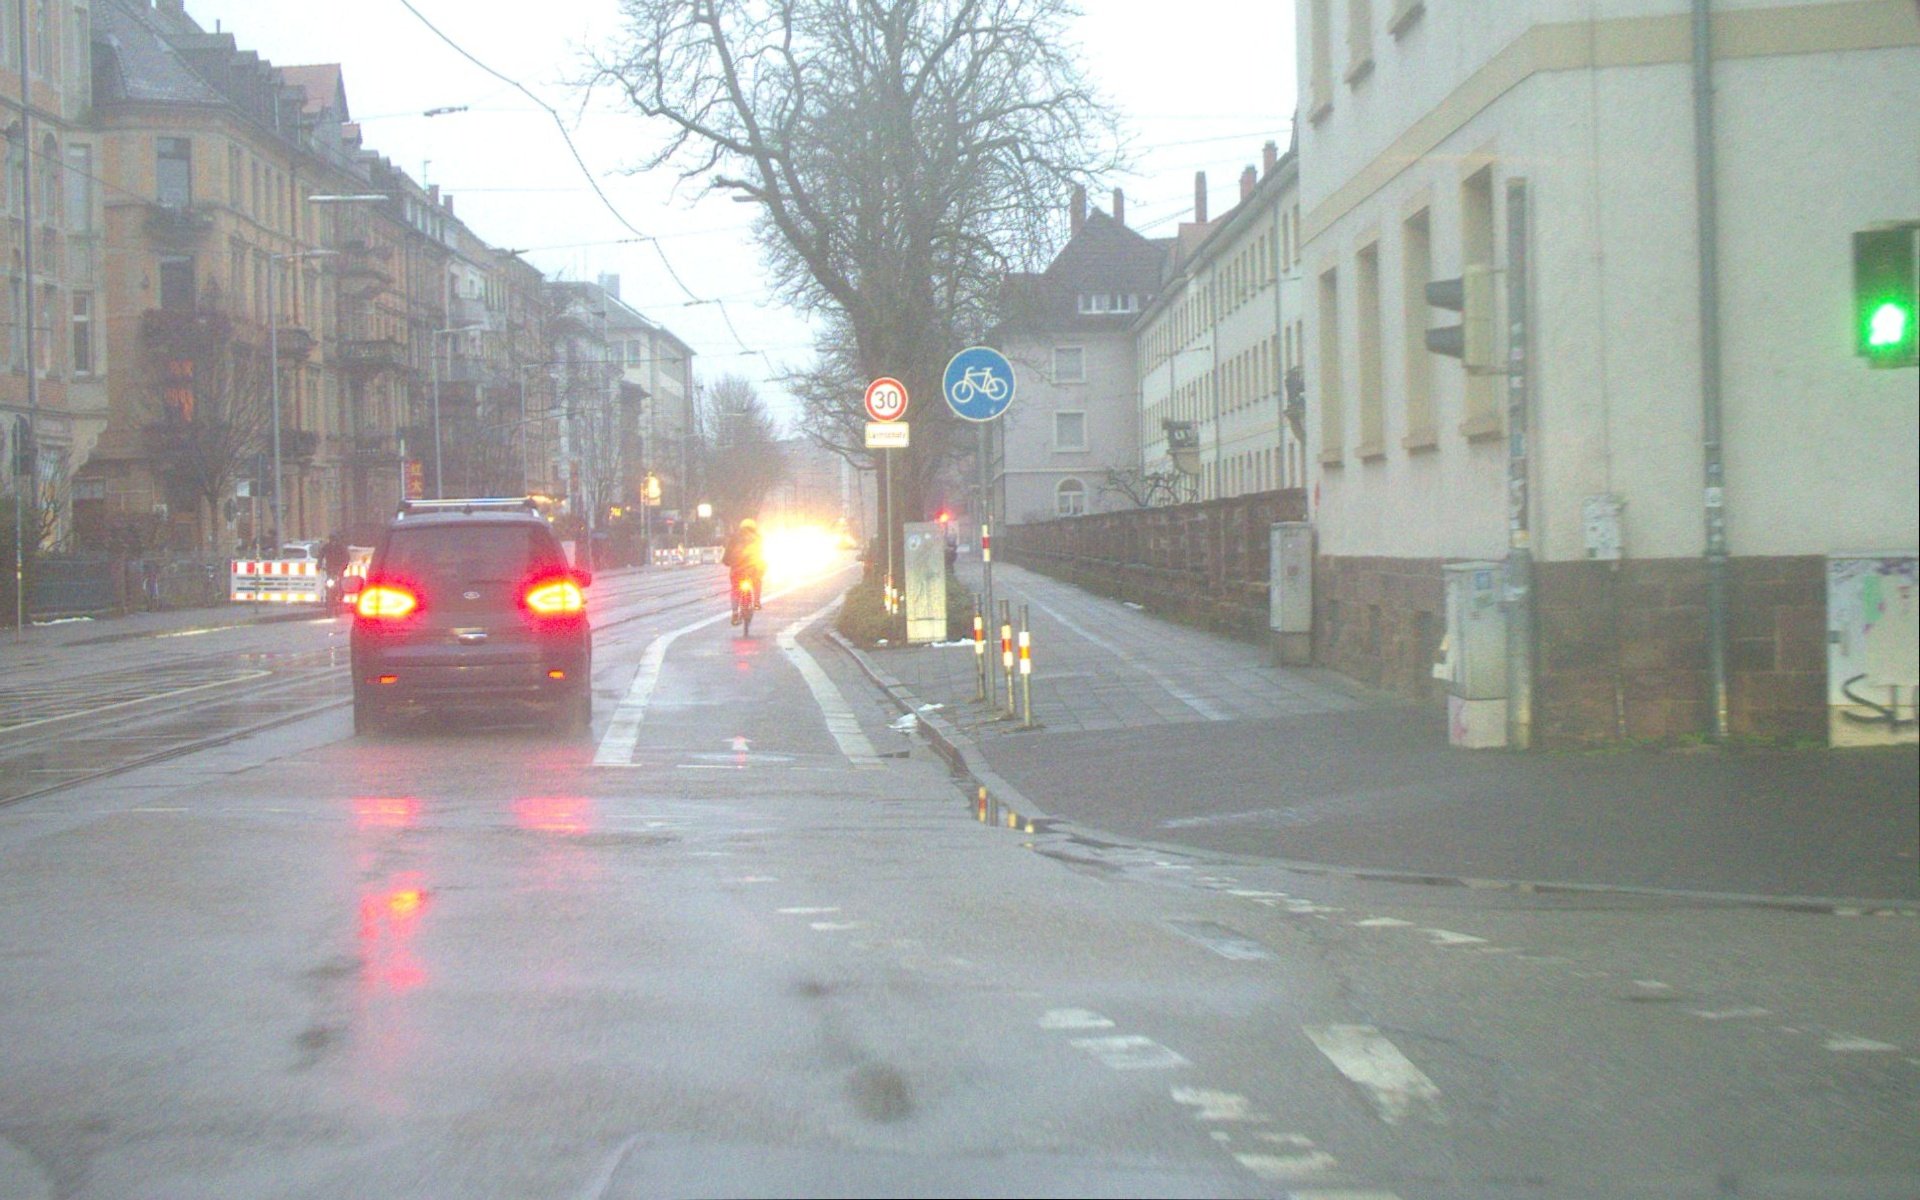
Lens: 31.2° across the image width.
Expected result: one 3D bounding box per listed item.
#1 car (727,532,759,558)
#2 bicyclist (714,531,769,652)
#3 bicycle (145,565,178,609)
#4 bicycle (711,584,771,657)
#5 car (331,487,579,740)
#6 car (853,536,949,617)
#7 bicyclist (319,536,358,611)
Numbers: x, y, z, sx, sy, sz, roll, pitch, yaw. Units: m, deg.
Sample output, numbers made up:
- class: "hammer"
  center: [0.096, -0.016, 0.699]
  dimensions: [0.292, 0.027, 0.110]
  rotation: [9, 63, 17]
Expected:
- class: "car"
  center: [-14.737, -3.770, 233.952]
  dimensions: [1.923, 1.714, 4.000]
  rotation: [-1, 1, -1]
- class: "bicyclist"
  center: [-3.160, -0.133, 49.761]
  dimensions: [0.730, 1.730, 0.765]
  rotation: [-1, 1, 1]
- class: "bicycle"
  center: [-17.203, -0.285, 74.105]
  dimensions: [0.263, 0.912, 1.685]
  rotation: [5, 1, -1]
- class: "bicycle"
  center: [-3.157, 0.284, 49.652]
  dimensions: [0.731, 1.003, 1.764]
  rotation: [-1, 1, 1]
- class: "car"
  center: [-4.049, 0.062, 27.962]
  dimensions: [1.801, 1.864, 4.019]
  rotation: [2, 1, -7]
- class: "car"
  center: [-1.148, -0.484, 67.032]
  dimensions: [1.785, 1.504, 3.988]
  rotation: [-1, 1, -1]
- class: "bicyclist"
  center: [-13.565, -0.580, 75.093]
  dimensions: [0.683, 1.610, 0.765]
  rotation: [-1, 1, 0]
